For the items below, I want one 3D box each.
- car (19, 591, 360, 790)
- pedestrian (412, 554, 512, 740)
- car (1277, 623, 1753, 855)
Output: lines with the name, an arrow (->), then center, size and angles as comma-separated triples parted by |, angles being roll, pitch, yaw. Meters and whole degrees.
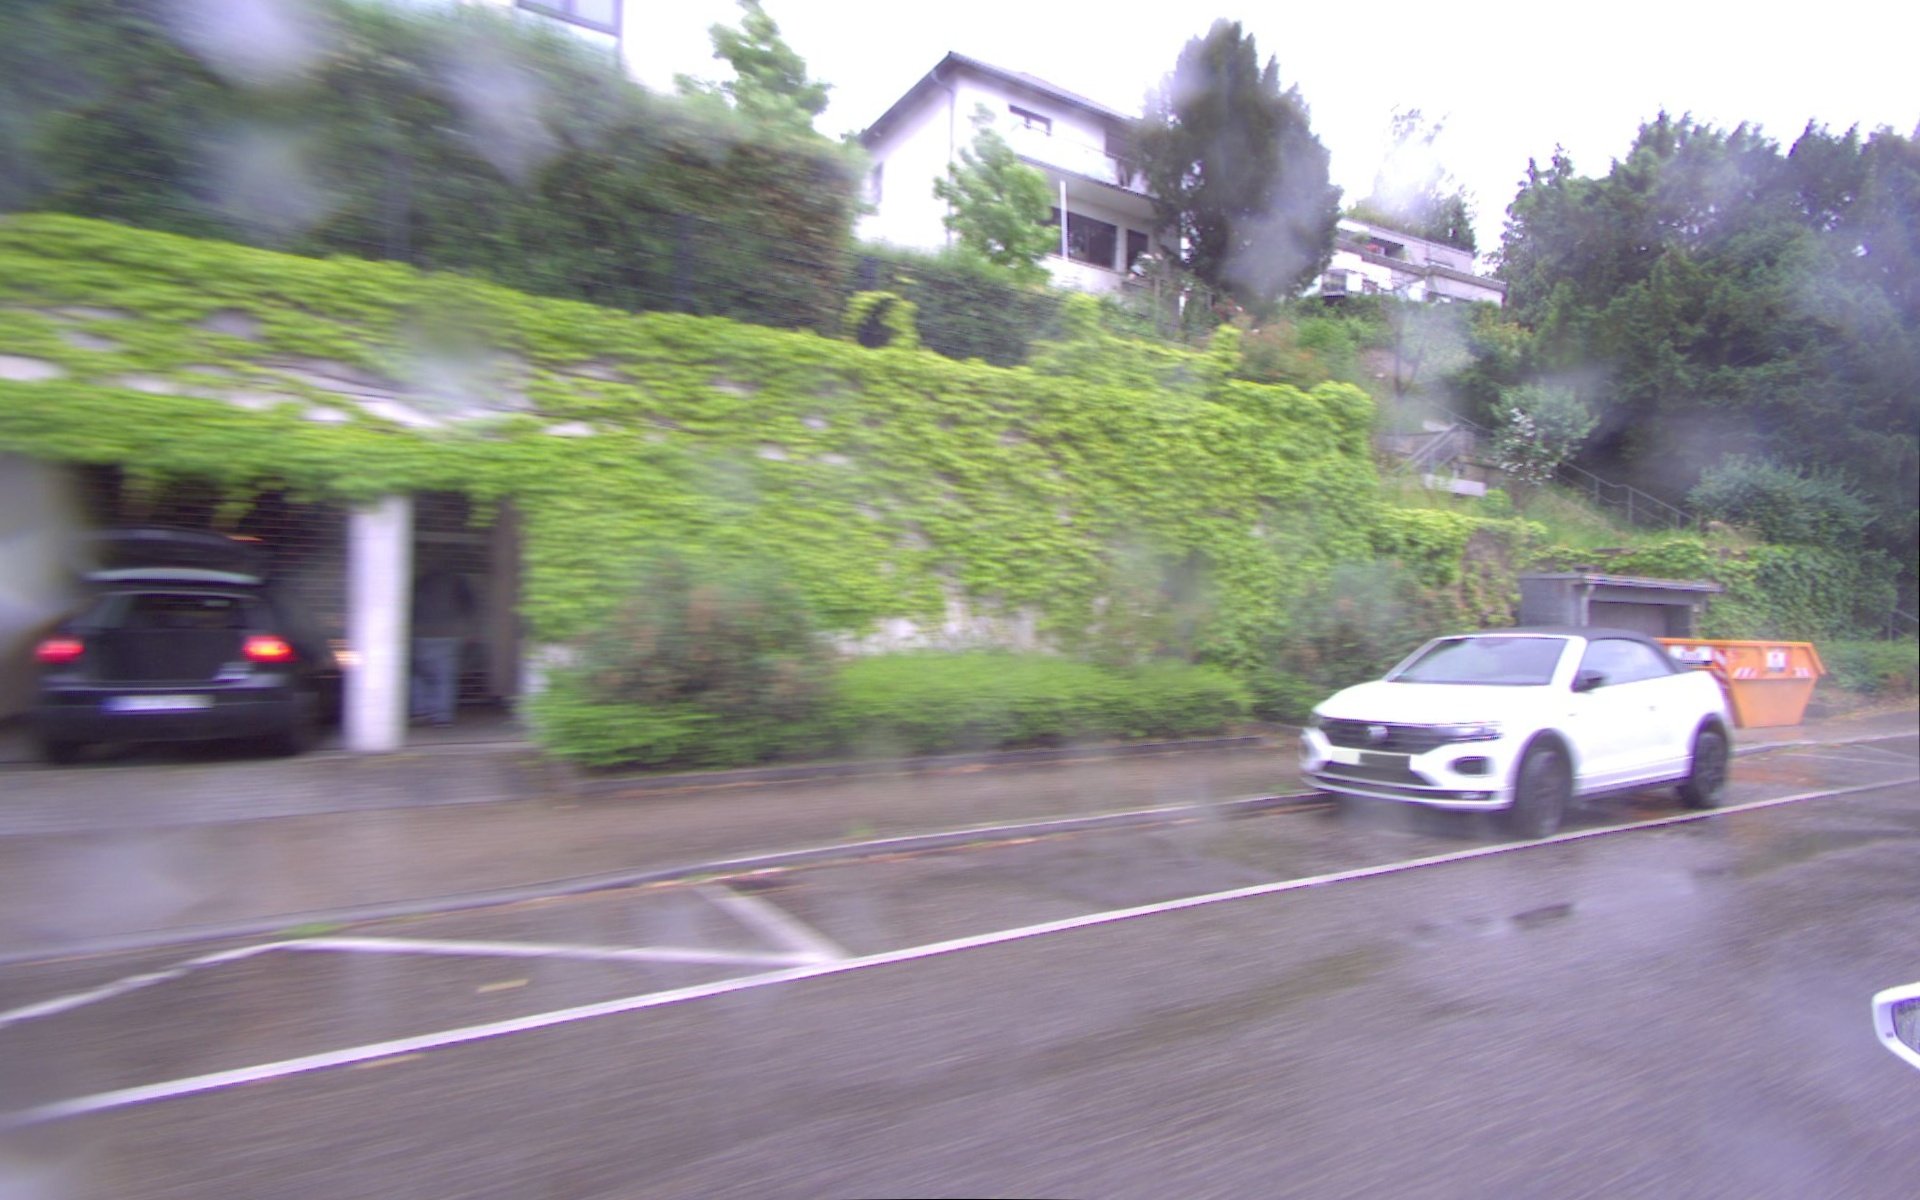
car -> -6.693, 0.685, 9.187 | 1.843, 1.402, 3.743 | 1, -1, -28
pedestrian -> -5.386, 0.492, 10.858 | 0.890, 1.905, 0.839 | 2, 0, -28
car -> 4.775, 0.995, 8.485 | 4.174, 1.517, 1.746 | 2, -3, -33
